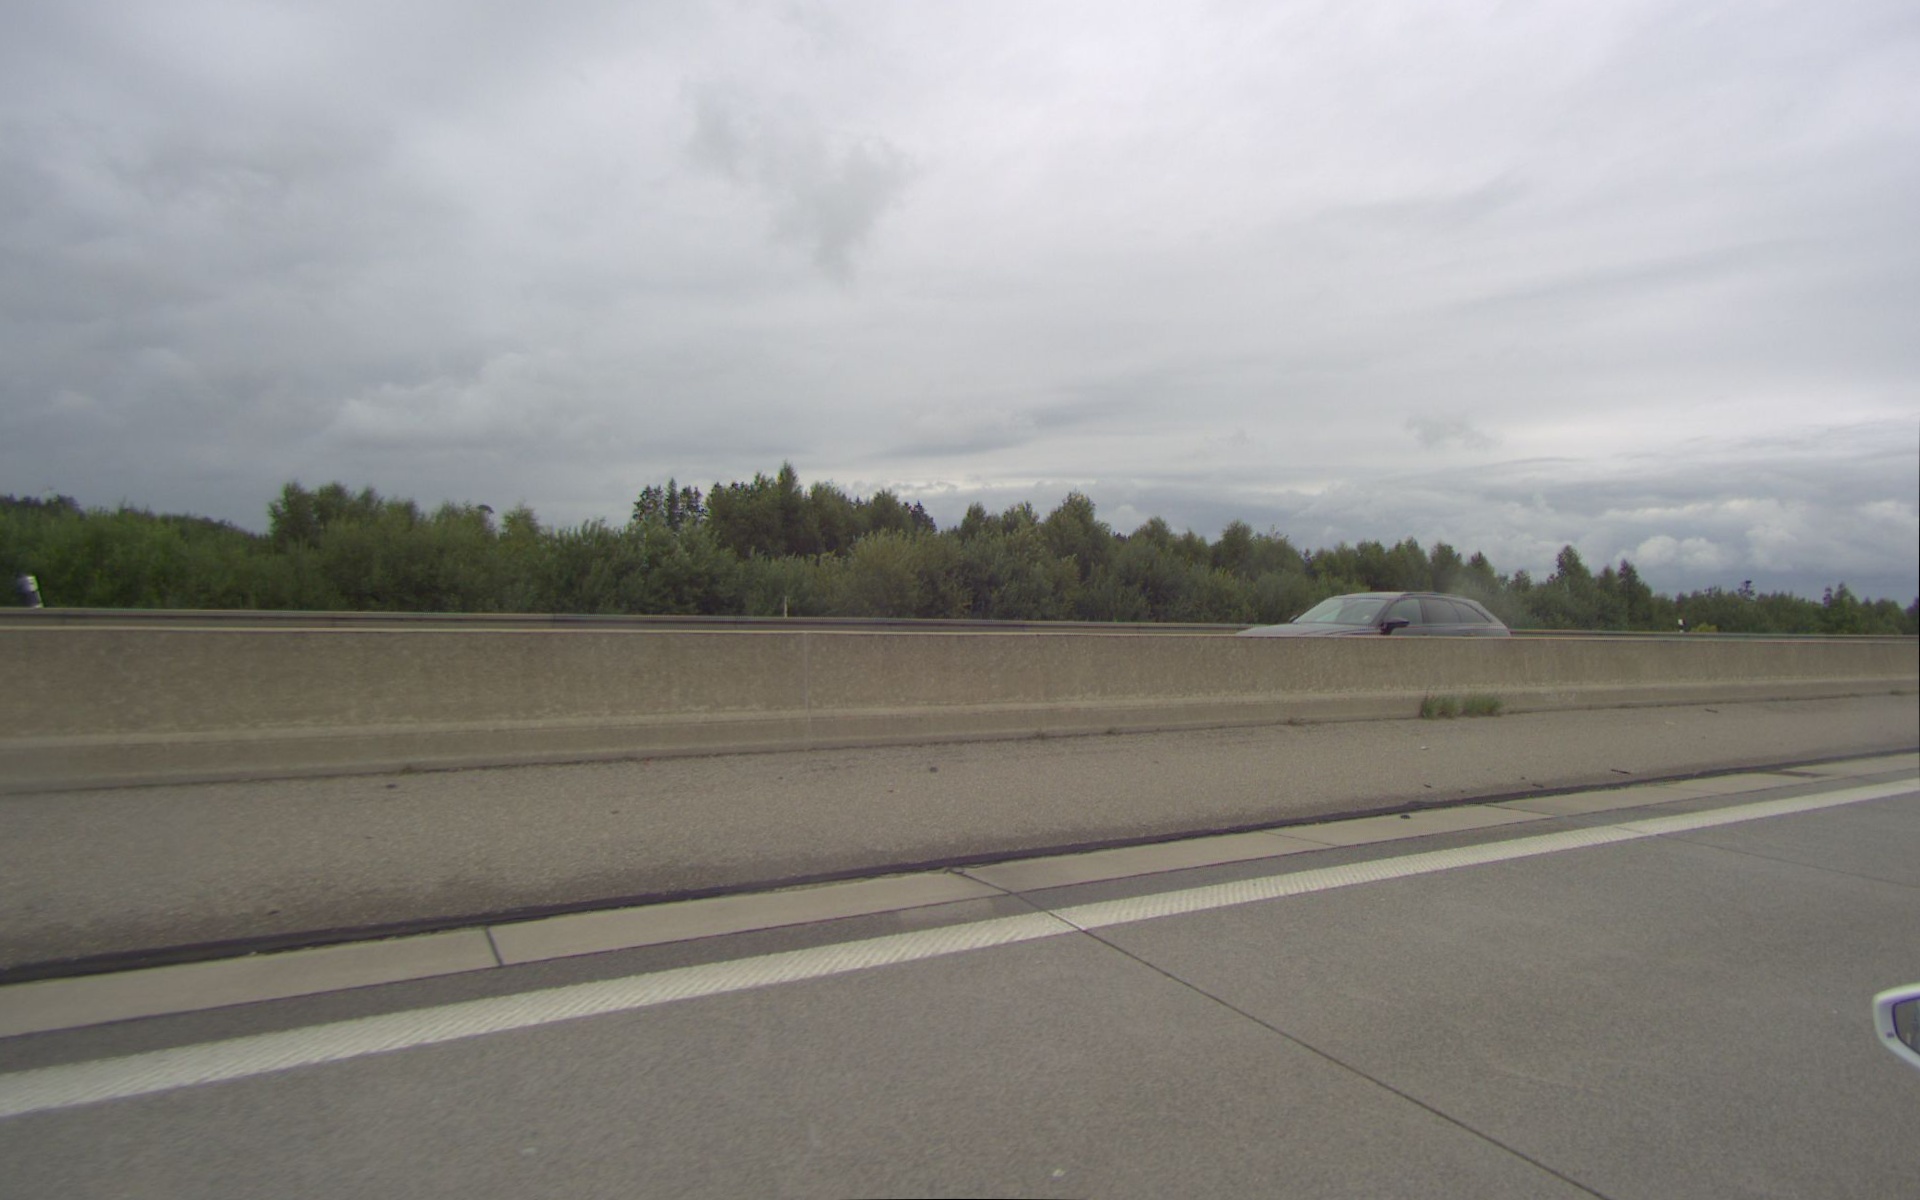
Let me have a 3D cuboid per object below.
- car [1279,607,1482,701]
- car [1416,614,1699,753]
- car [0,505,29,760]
[{"bbox_3d":[8.817,1.051,20.950,4.525,1.772,1.488,1,0,-31],"label":"car"},{"bbox_3d":[10.325,1.288,17.242,5.216,2.040,1.891,1,0,-31],"label":"car"},{"bbox_3d":[-9.619,0.213,6.637,4.781,2.040,1.680,1,0,-30],"label":"car"}]
